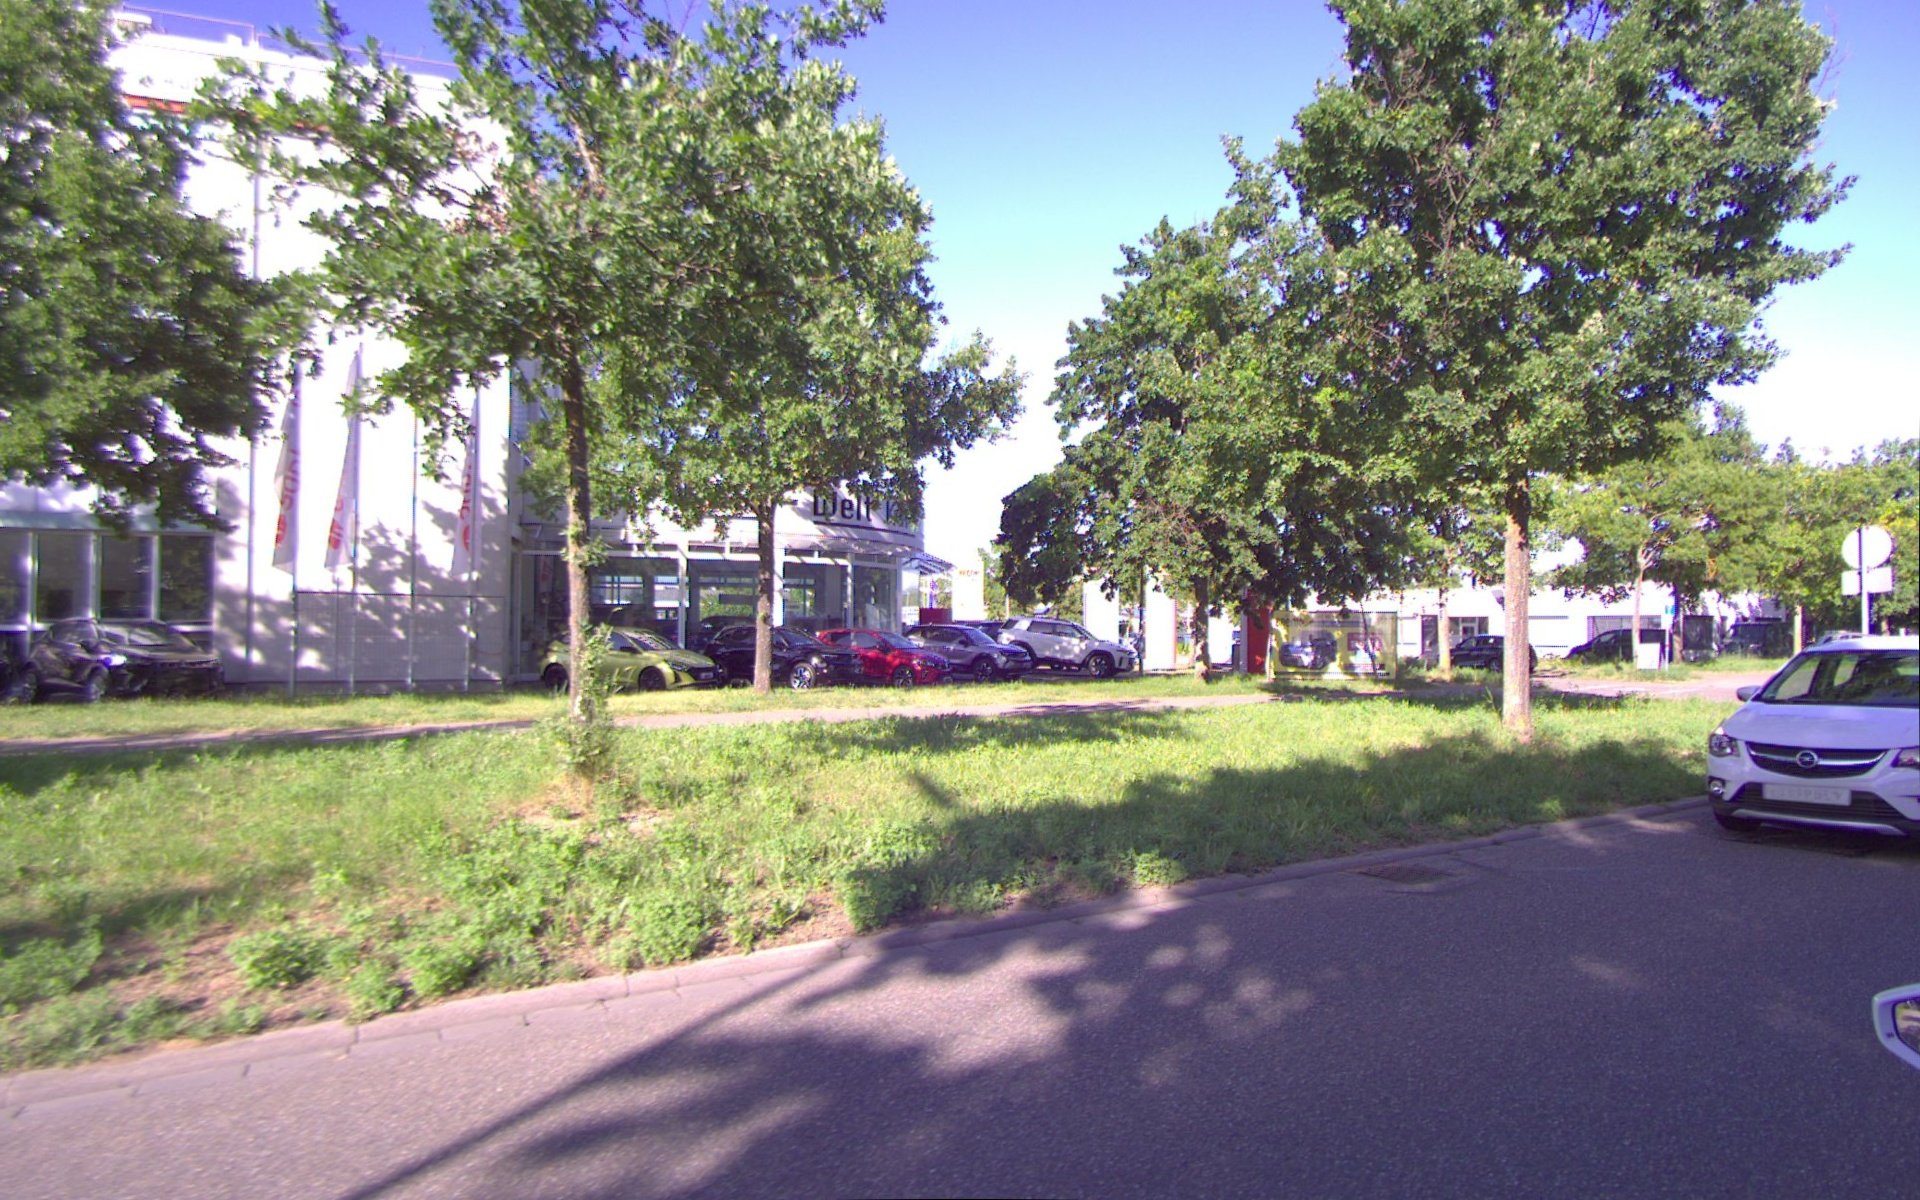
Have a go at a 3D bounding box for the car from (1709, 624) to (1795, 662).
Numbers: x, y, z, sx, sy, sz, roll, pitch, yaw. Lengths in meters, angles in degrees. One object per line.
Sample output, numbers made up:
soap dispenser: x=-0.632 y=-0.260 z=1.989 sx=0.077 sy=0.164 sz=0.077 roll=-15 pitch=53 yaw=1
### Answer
car: x=43.835 y=2.362 z=55.566 sx=5.745 sy=2.014 sz=2.024 roll=1 pitch=-2 yaw=-33

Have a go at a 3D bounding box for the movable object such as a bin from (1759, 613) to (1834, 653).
movable object such as a bin: x=49.076 y=1.922 z=58.894 sx=4.410 sy=2.246 sz=2.091 roll=1 pitch=-2 yaw=-32

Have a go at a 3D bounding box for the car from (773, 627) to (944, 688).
car: x=-2.695 y=1.487 z=26.769 sx=4.089 sy=1.510 sz=2.000 roll=-1 pitch=-2 yaw=22

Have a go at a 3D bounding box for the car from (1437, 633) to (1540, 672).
car: x=22.037 y=2.159 z=42.005 sx=1.792 sy=1.553 sz=3.670 roll=0 pitch=-2 yaw=-16

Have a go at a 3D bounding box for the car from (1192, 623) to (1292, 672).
car: x=11.959 y=1.988 z=42.950 sx=1.908 sy=1.931 sz=5.014 roll=0 pitch=-2 yaw=-13

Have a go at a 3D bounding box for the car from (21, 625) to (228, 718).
car: x=-15.467 y=1.250 z=18.564 sx=3.930 sy=1.531 sz=1.797 roll=-1 pitch=-1 yaw=32

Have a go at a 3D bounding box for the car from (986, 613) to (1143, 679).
car: x=3.423 y=1.471 z=32.847 sx=4.762 sy=2.040 sz=2.000 roll=-1 pitch=-2 yaw=19

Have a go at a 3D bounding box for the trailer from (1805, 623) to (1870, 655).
trailer: x=54.919 y=2.396 z=62.859 sx=3.699 sy=1.940 sz=2.091 roll=1 pitch=-2 yaw=-32

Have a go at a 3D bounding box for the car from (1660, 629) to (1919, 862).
car: x=7.711 y=0.986 z=8.149 sx=4.377 sy=1.484 sz=1.735 roll=1 pitch=-2 yaw=-32

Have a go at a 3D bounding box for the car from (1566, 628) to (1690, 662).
car: x=31.055 y=2.080 z=46.840 sx=1.917 sy=1.499 sz=4.483 roll=1 pitch=-2 yaw=-28

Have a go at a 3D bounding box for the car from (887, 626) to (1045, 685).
car: x=0.158 y=1.550 z=28.832 sx=4.095 sy=1.582 sz=1.997 roll=-1 pitch=-2 yaw=29

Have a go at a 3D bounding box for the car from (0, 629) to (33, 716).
car: x=-18.233 y=1.244 z=17.169 sx=3.920 sy=1.467 sz=1.802 roll=-1 pitch=-2 yaw=18

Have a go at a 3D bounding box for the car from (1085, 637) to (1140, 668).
car: x=8.356 y=2.860 z=55.321 sx=1.769 sy=1.531 sz=3.993 roll=-1 pitch=-1 yaw=-10

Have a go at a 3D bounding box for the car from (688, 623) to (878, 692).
car: x=-4.226 y=1.349 z=24.124 sx=4.087 sy=1.558 sz=1.897 roll=-1 pitch=-2 yaw=19

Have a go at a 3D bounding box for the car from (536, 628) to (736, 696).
car: x=-7.250 y=1.347 z=22.581 sx=3.875 sy=1.420 sz=2.000 roll=-1 pitch=-2 yaw=19
